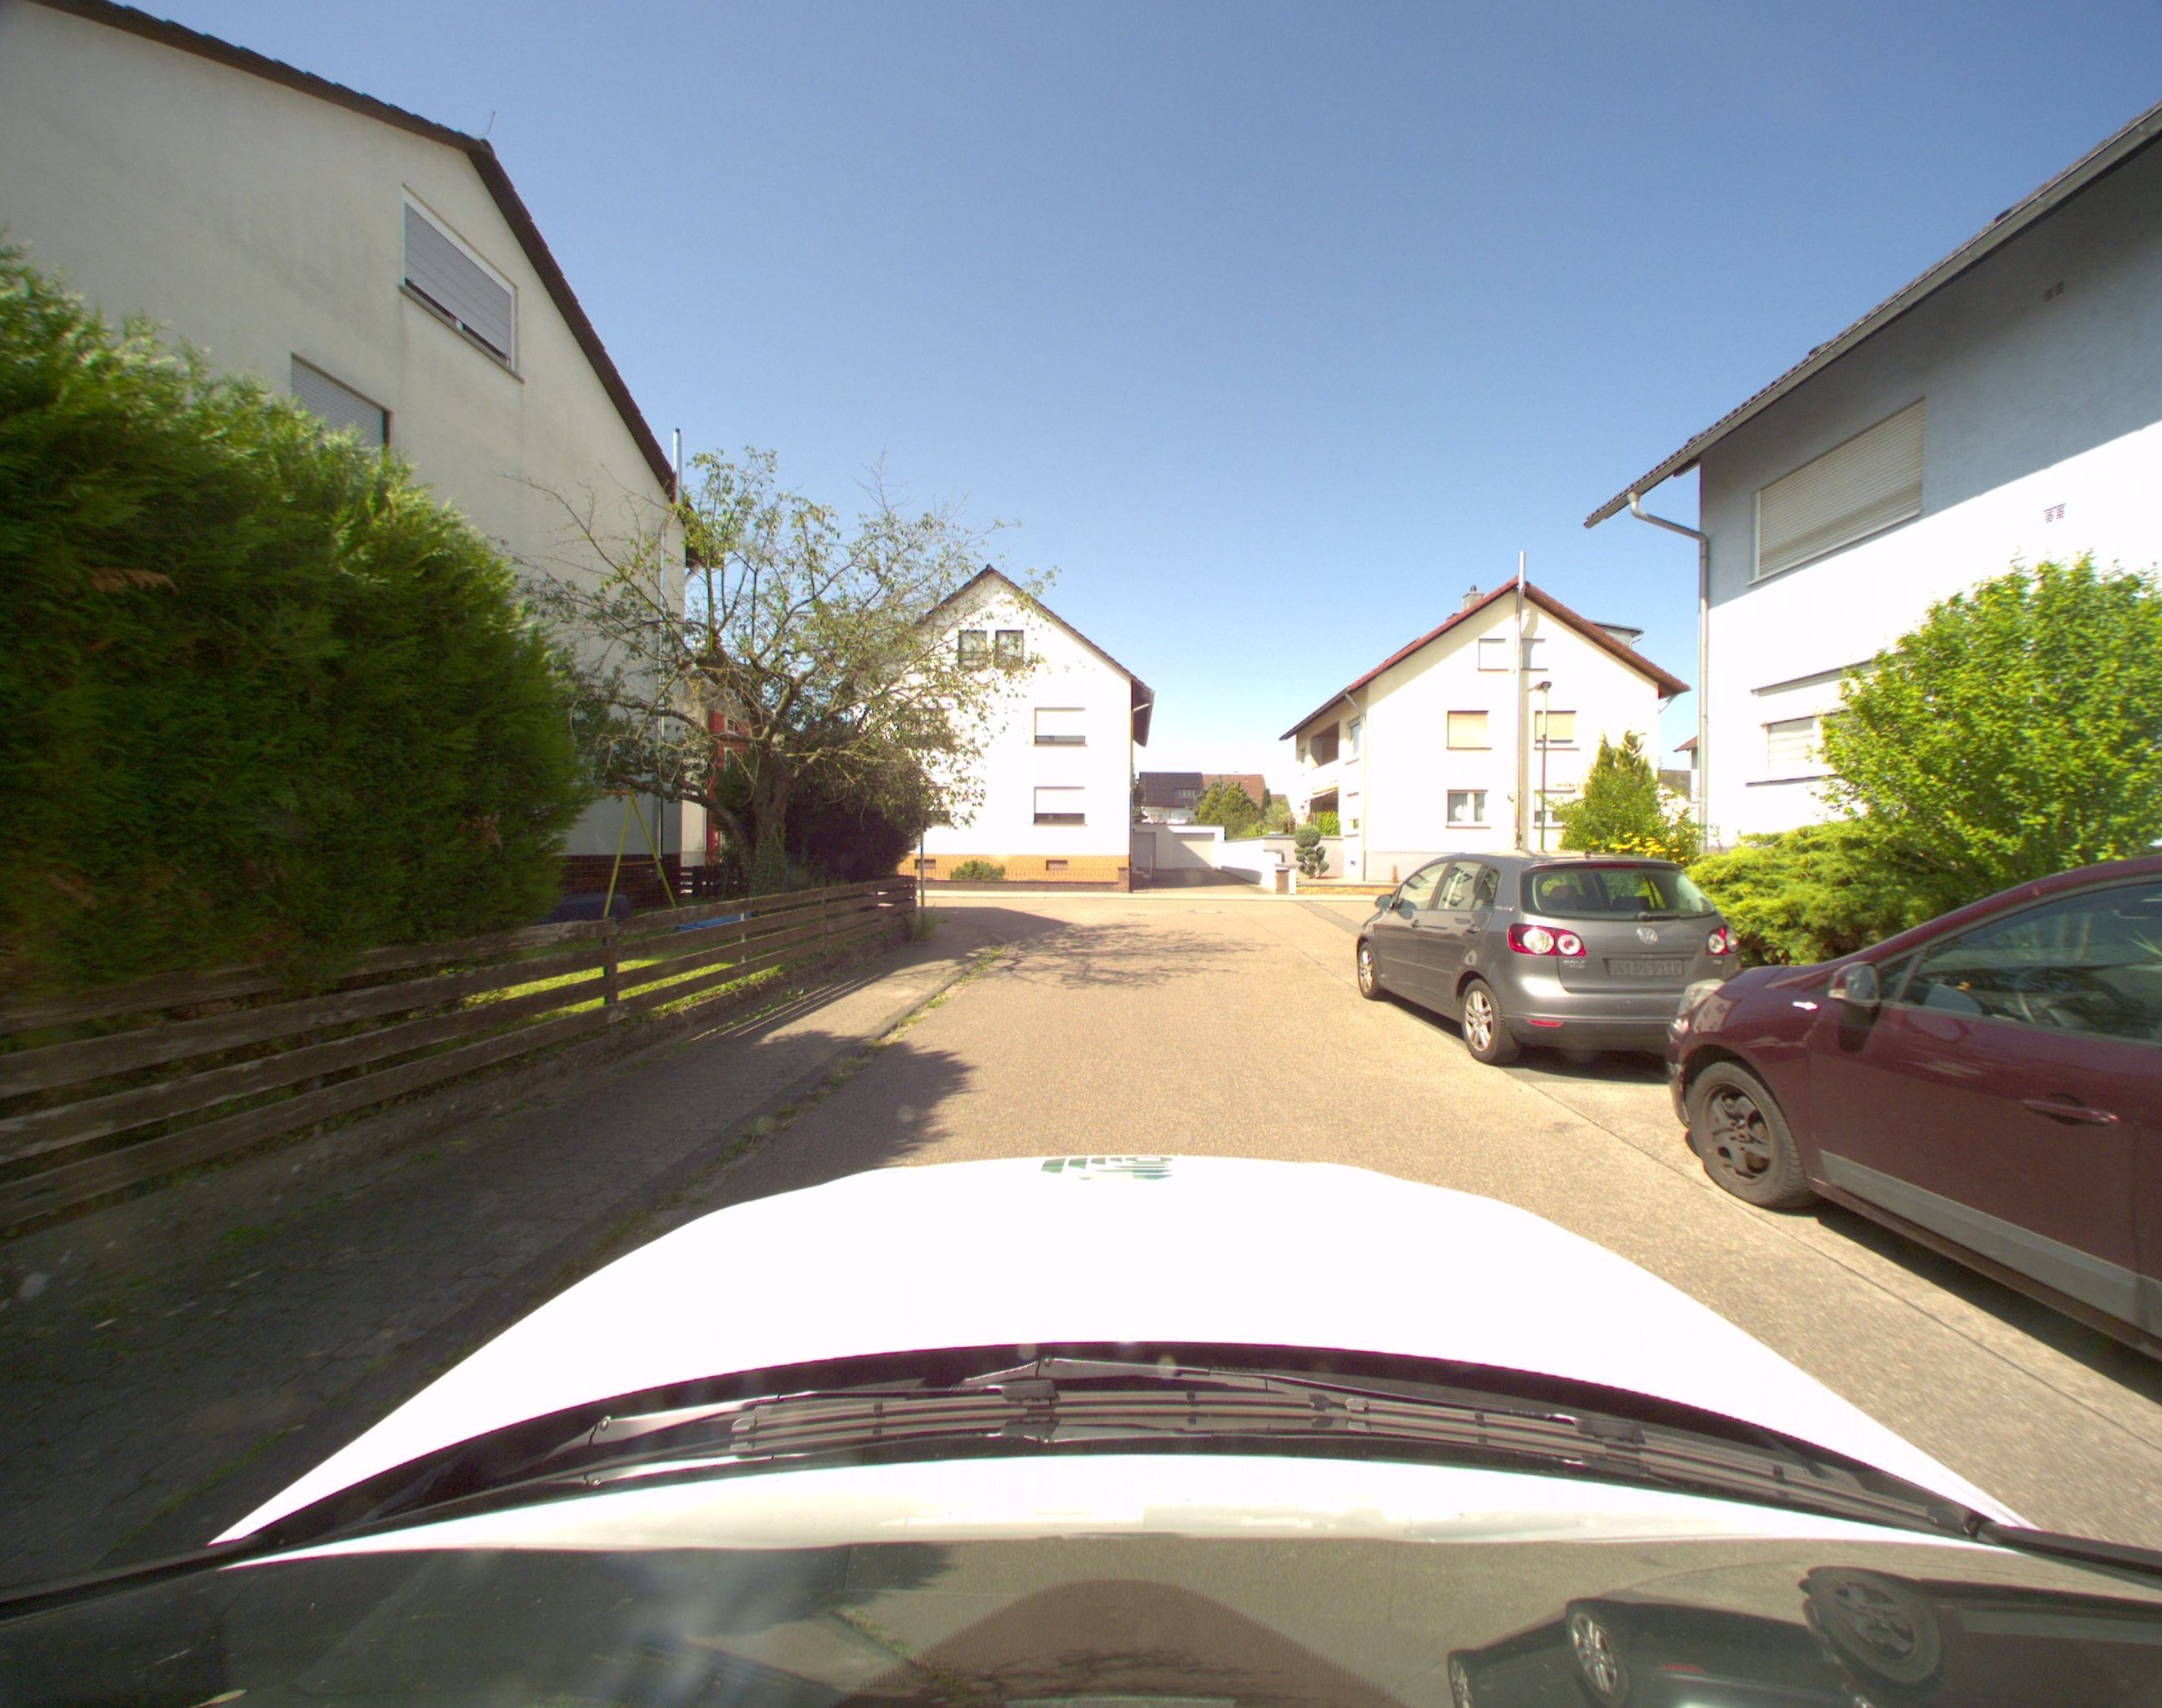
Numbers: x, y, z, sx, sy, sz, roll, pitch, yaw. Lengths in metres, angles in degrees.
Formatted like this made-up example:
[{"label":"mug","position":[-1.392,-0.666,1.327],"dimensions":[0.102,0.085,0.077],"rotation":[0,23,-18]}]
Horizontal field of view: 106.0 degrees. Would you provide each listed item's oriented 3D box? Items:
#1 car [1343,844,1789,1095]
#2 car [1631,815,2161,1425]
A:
[{"label":"car","position":[3.757,0.722,7.245],"dimensions":[1.639,1.546,4.050],"rotation":[2,0,2]},{"label":"car","position":[3.637,0.689,2.281],"dimensions":[1.638,1.581,4.152],"rotation":[0,0,4]}]
